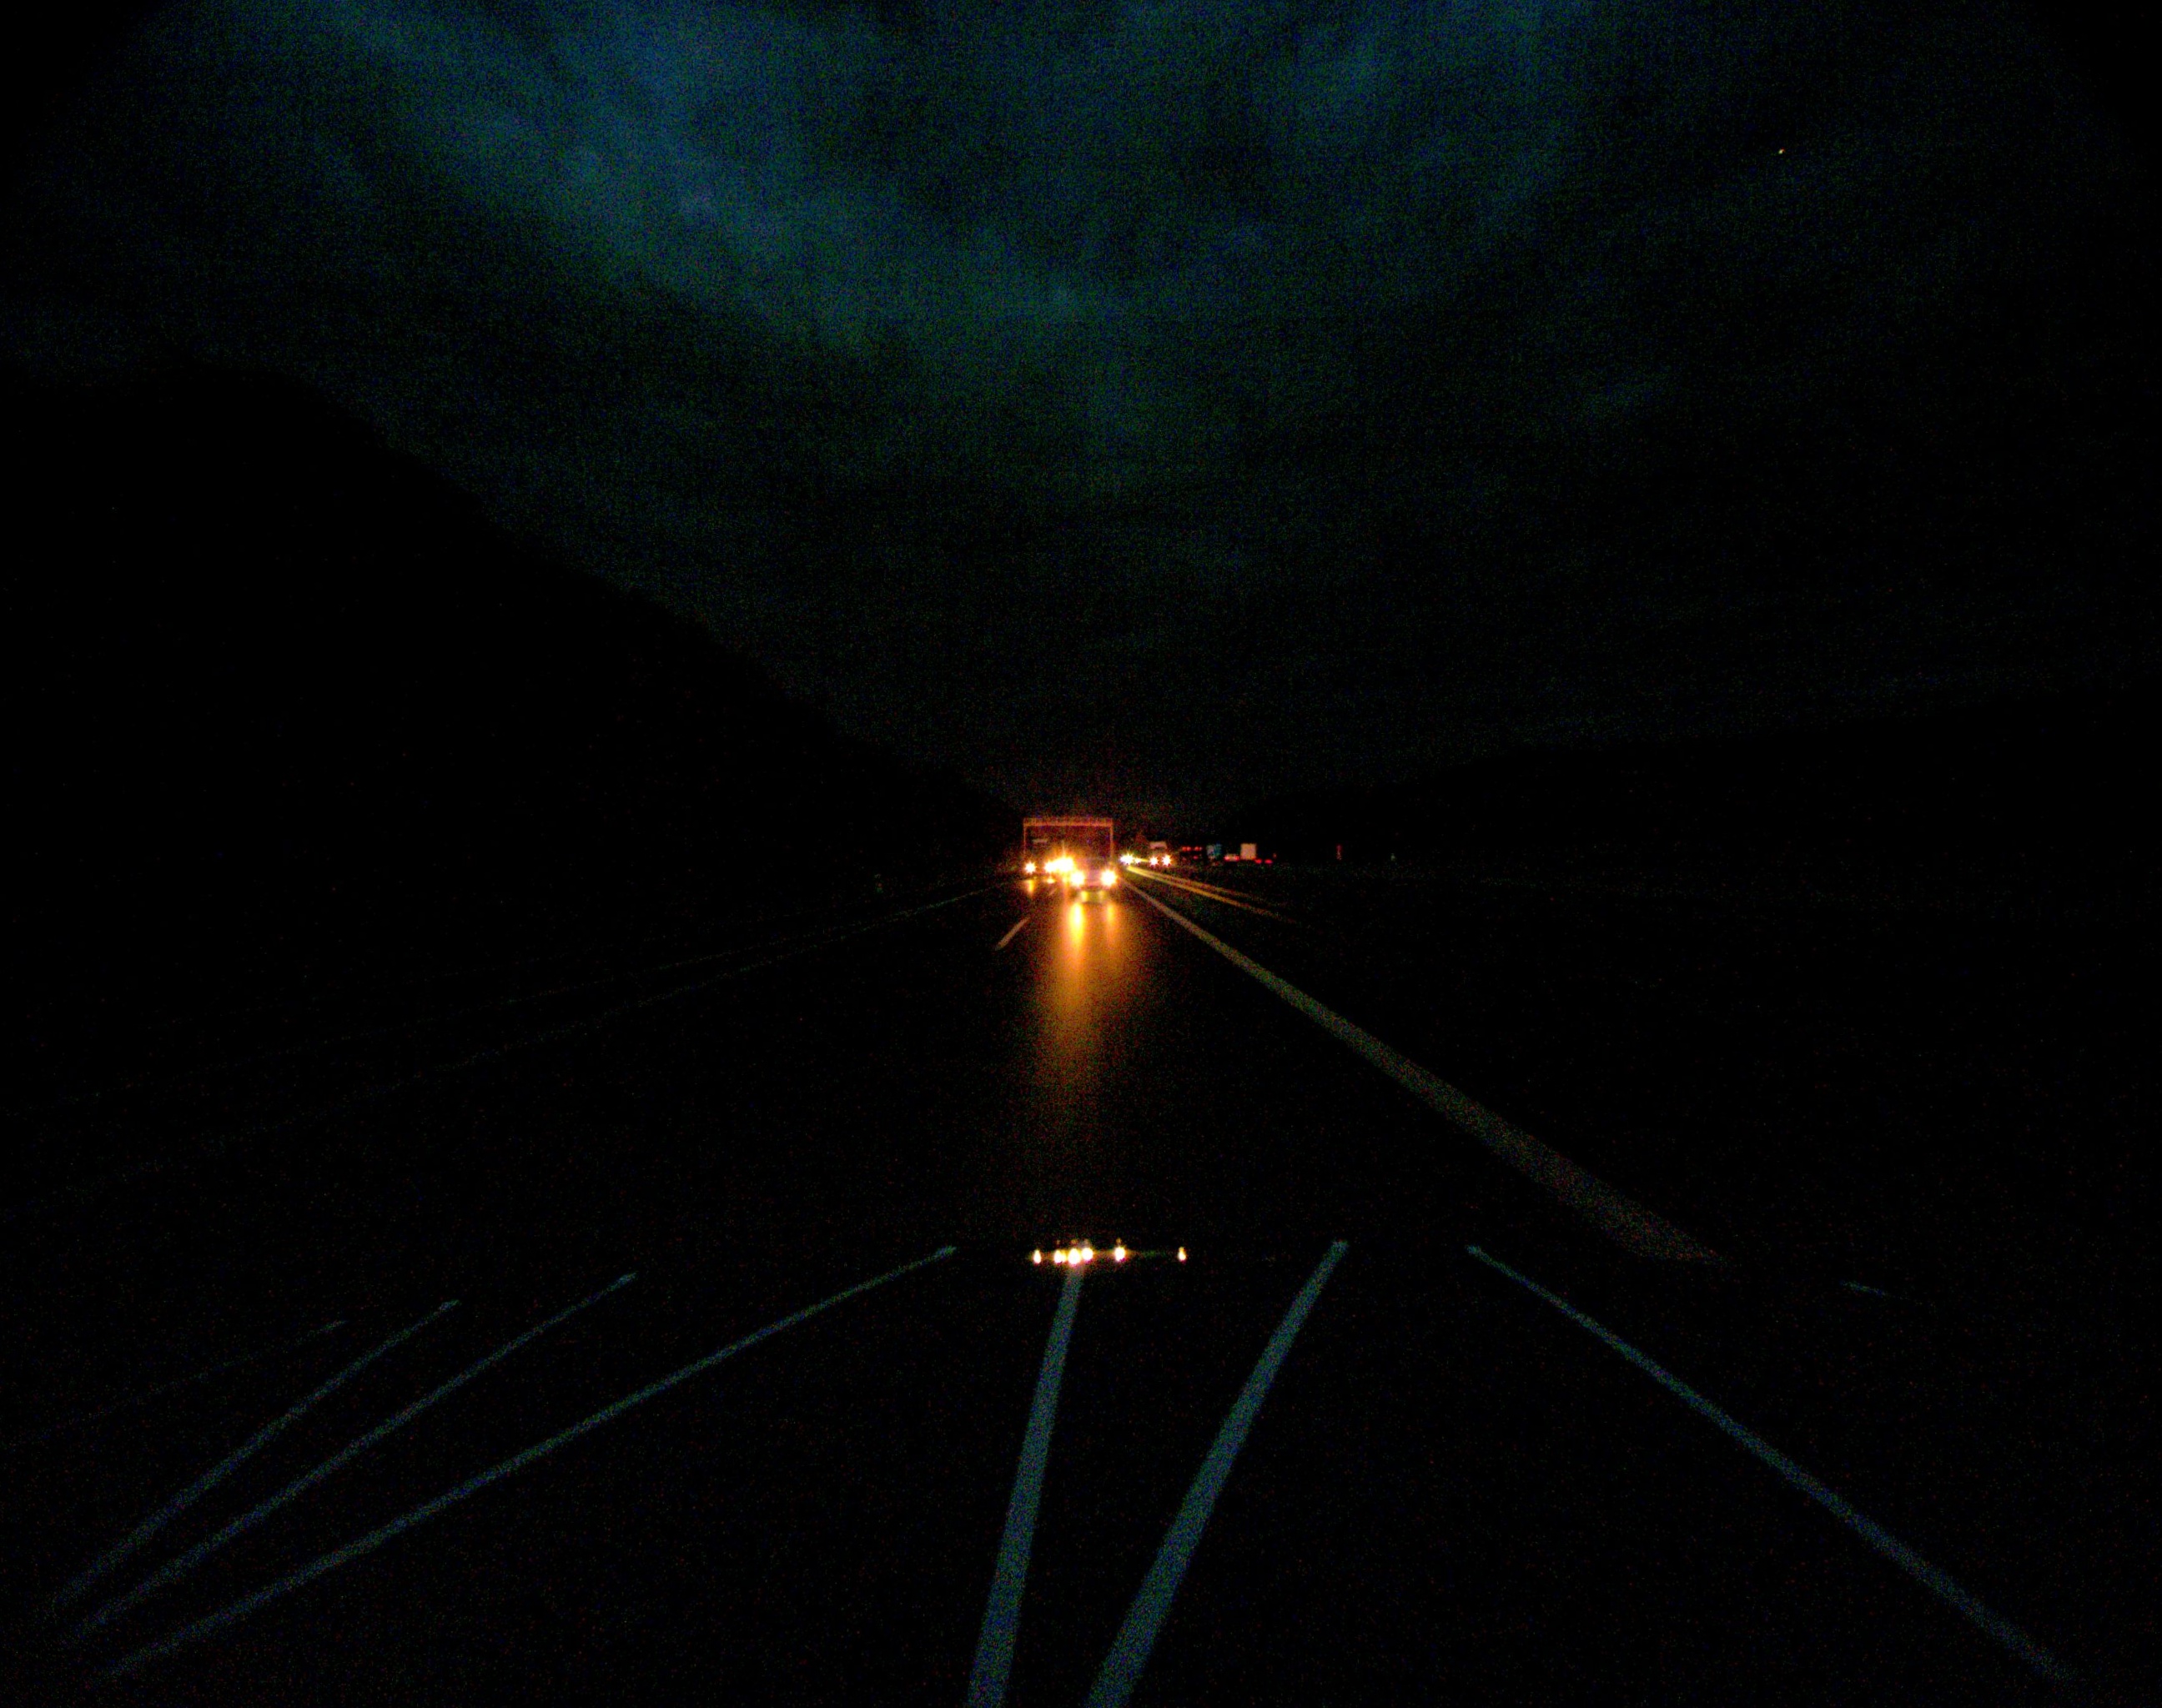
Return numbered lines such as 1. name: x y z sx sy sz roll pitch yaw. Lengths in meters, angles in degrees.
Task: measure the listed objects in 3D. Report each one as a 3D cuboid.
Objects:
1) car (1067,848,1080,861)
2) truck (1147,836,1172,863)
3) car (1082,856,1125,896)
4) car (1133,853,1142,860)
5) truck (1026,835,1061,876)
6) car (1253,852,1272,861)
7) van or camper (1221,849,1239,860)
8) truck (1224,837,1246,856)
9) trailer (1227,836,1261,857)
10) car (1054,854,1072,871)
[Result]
1. car: -1.195 0.071 120.703 1.999 2.002 3.999 -1 1 -2
2. truck: 12.933 -0.797 125.881 3.046 4.276 9.890 0 1 0
3. car: 0.905 0.861 31.399 1.669 1.551 3.756 0 0 1
4. car: 14.015 0.510 189.452 1.833 1.674 4.229 -2 0 0
5. truck: -2.813 0.122 58.694 2.274 2.954 6.631 -2 0 0
6. car: 26.235 0.325 109.750 1.756 1.243 4.212 0 0 1
7. van or camper: 25.626 0.067 130.767 1.895 1.895 5.540 -1 0 -1
8. truck: 29.913 -1.372 147.873 3.318 3.598 5.497 0 1 0
9. trailer: 29.890 -1.373 140.057 3.335 3.743 13.884 0 0 0
10. car: -1.642 0.775 70.108 1.615 1.546 3.318 0 1 -1
